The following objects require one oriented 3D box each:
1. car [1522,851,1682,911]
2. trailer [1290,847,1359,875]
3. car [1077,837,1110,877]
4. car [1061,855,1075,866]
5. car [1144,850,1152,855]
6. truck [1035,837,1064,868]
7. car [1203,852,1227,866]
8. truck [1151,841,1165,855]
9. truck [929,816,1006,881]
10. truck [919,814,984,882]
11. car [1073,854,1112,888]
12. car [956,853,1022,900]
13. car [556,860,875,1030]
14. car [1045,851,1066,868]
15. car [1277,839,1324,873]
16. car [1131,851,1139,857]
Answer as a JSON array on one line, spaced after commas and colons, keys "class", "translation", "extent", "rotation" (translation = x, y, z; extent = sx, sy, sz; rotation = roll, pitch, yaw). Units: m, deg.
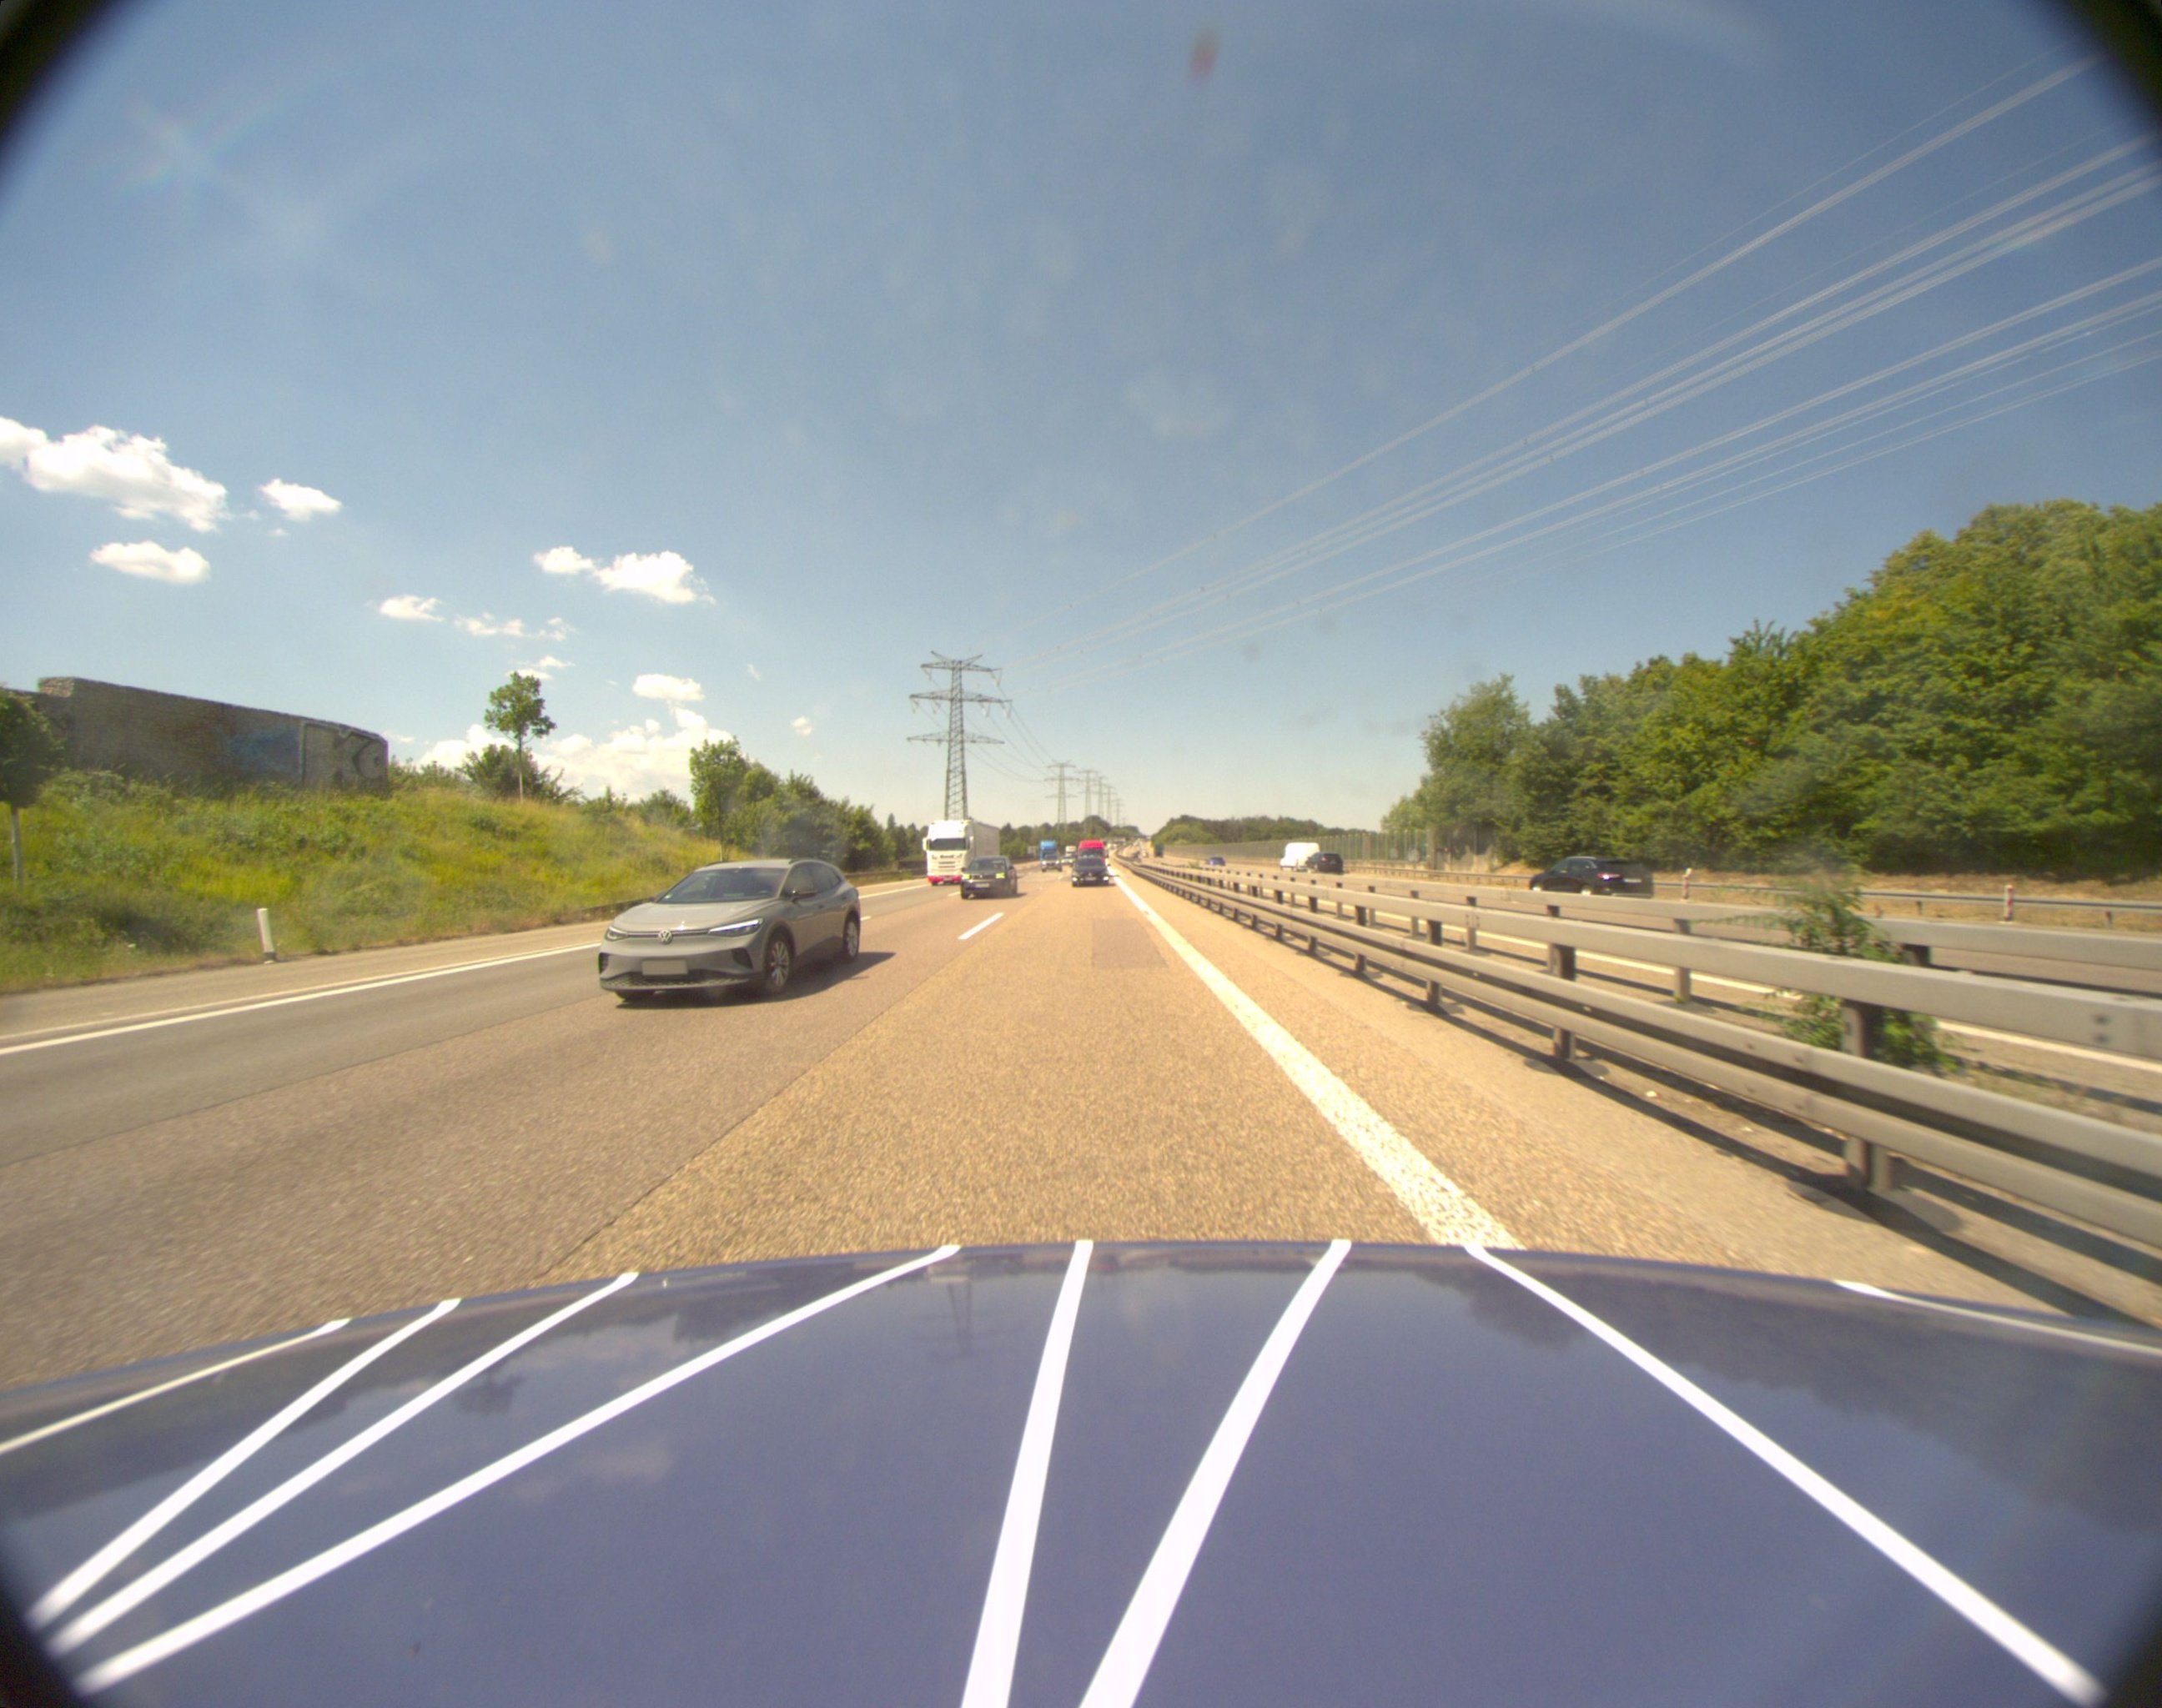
[{"class": "car", "translation": [17.270, 0.819, 25.545], "extent": [2.163, 1.789, 4.512], "rotation": [1, 0, -1]}, {"class": "trailer", "translation": [17.981, 0.492, 56.545], "extent": [2.772, 1.934, 6.722], "rotation": [1, 0, -1]}, {"class": "car", "translation": [0.874, 0.196, 51.759], "extent": [2.100, 2.598, 4.496], "rotation": [0, 0, 2]}, {"class": "car", "translation": [-1.911, 0.916, 111.434], "extent": [1.879, 1.591, 3.689], "rotation": [0, 0, 2]}, {"class": "car", "translation": [20.119, -0.369, 228.265], "extent": [1.786, 1.595, 4.047], "rotation": [0, 0, -1]}, {"class": "truck", "translation": [-5.341, -0.345, 132.279], "extent": [3.797, 4.970, 14.924], "rotation": [-2, 0, 1]}, {"class": "car", "translation": [14.088, 0.506, 79.971], "extent": [1.786, 1.465, 4.355], "rotation": [2, 0, 2]}, {"class": "truck", "translation": [23.546, -1.678, 232.358], "extent": [3.315, 4.113, 11.091], "rotation": [2, 0, 1]}, {"class": "truck", "translation": [-7.616, -0.357, 53.068], "extent": [3.076, 3.885, 12.504], "rotation": [-2, 0, 1]}, {"class": "truck", "translation": [-7.763, -0.351, 46.077], "extent": [3.076, 3.885, 3.847], "rotation": [-2, 0, 1]}, {"class": "car", "translation": [0.562, 0.769, 36.435], "extent": [1.735, 1.535, 3.750], "rotation": [0, 0, 1]}, {"class": "car", "translation": [-3.560, 0.835, 29.996], "extent": [1.955, 1.636, 4.047], "rotation": [-2, 0, 1]}, {"class": "car", "translation": [-4.385, 0.959, 10.106], "extent": [1.873, 1.627, 4.586], "rotation": [-2, 0, 1]}, {"class": "car", "translation": [-2.477, 0.529, 74.781], "extent": [1.749, 1.691, 4.089], "rotation": [0, 0, 2]}, {"class": "car", "translation": [18.094, 0.128, 62.957], "extent": [2.114, 2.624, 6.004], "rotation": [1, 0, 1]}, {"class": "car", "translation": [14.537, -0.036, 204.576], "extent": [1.786, 1.465, 4.489], "rotation": [0, 0, 1]}]
